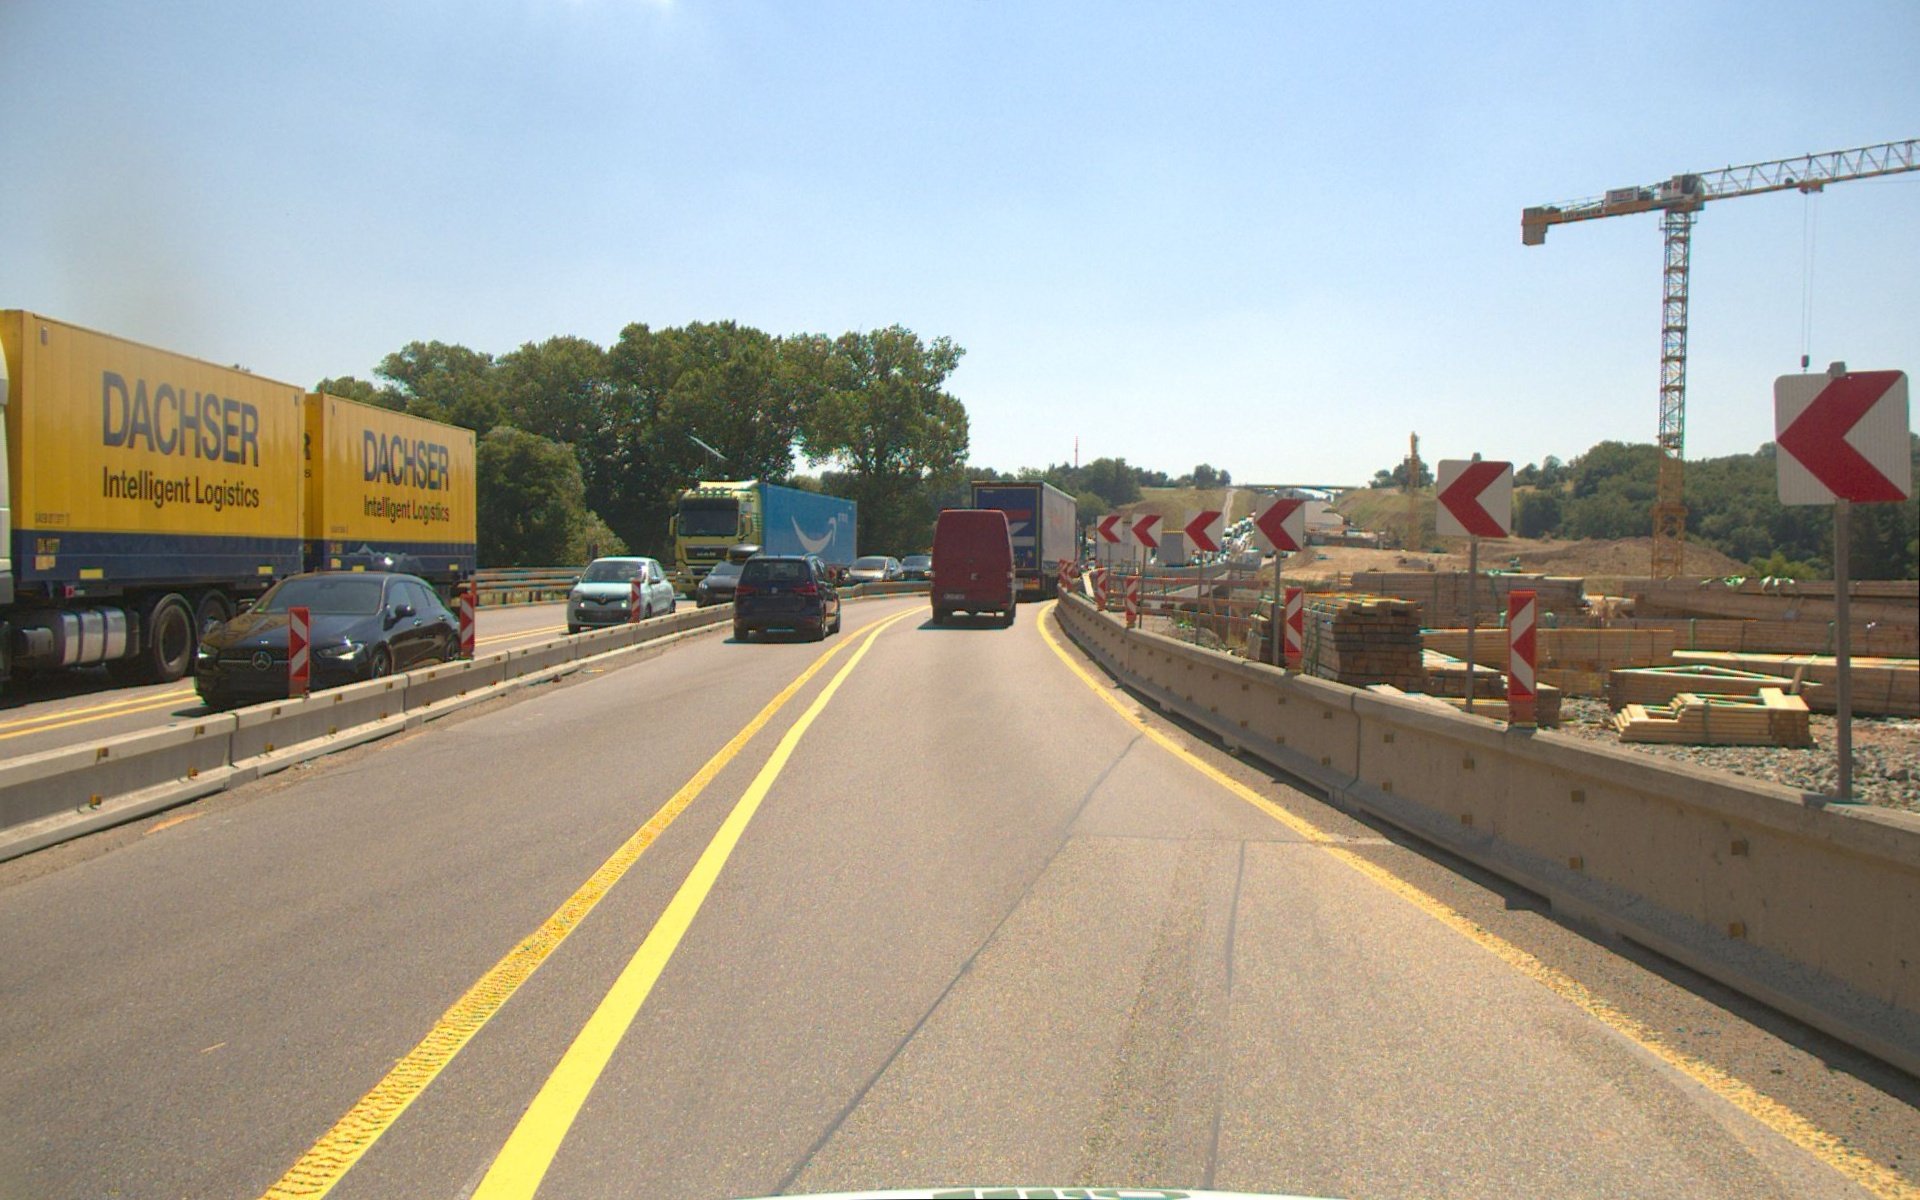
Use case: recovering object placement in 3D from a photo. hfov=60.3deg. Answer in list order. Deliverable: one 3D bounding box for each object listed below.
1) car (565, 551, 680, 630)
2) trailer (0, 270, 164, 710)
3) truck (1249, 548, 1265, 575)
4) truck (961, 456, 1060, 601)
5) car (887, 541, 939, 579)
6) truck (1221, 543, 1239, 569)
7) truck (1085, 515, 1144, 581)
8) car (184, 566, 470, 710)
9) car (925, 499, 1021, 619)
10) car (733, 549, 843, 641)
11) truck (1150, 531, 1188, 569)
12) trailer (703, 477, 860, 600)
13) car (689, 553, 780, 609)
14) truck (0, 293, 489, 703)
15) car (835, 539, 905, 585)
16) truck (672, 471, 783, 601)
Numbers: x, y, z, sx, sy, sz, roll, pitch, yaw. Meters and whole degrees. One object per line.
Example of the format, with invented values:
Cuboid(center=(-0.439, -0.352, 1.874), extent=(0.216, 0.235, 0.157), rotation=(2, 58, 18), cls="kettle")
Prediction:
Cuboid(center=(-7.077, -0.254, 35.047), extent=(1.603, 1.511, 4.001), rotation=(1, 2, 0), cls="car")
Cuboid(center=(-10.820, -1.097, 16.971), extent=(2.807, 4.303, 5.217), rotation=(1, 0, -1), cls="trailer")
Cuboid(center=(46.164, -5.911, 257.059), extent=(2.242, 3.804, 6.487), rotation=(1, -2, 10), cls="truck")
Cuboid(center=(1.949, -2.562, 61.016), extent=(2.882, 5.031, 6.747), rotation=(1, 1, 8), cls="truck")
Cuboid(center=(-2.219, -1.887, 79.202), extent=(1.841, 1.676, 4.718), rotation=(2, 1, 6), cls="car")
Cuboid(center=(34.669, -5.667, 212.256), extent=(2.242, 3.252, 6.489), rotation=(1, 2, 9), cls="truck")
Cuboid(center=(9.935, -3.285, 105.793), extent=(3.114, 4.059, 6.748), rotation=(1, 1, 11), cls="truck")
Cuboid(center=(-6.983, 0.333, 18.756), extent=(1.643, 1.385, 4.501), rotation=(1, 1, -2), cls="car")
Cuboid(center=(0.281, -0.929, 40.390), extent=(2.106, 2.656, 5.438), rotation=(2, 0, 0), cls="car")
Cuboid(center=(-3.407, -0.167, 33.417), extent=(1.698, 1.663, 4.391), rotation=(1, 2, 1), cls="car")
Cuboid(center=(19.954, -4.719, 157.795), extent=(3.115, 3.029, 8.905), rotation=(1, -2, 10), cls="truck")
Cuboid(center=(-6.885, -2.298, 66.505), extent=(2.591, 4.367, 13.321), rotation=(2, 1, 10), cls="trailer")
Cuboid(center=(-6.343, -0.584, 47.013), extent=(1.782, 1.460, 4.585), rotation=(1, 2, 2), cls="car")
Cuboid(center=(-10.856, -1.235, 25.576), extent=(2.749, 4.418, 15.375), rotation=(1, 1, 0), cls="truck")
Cuboid(center=(-3.550, -1.492, 65.815), extent=(1.781, 1.612, 4.304), rotation=(2, -1, 10), cls="car")
Cuboid(center=(-8.193, -2.217, 58.776), extent=(2.569, 4.344, 4.736), rotation=(2, 1, 8), cls="truck")
